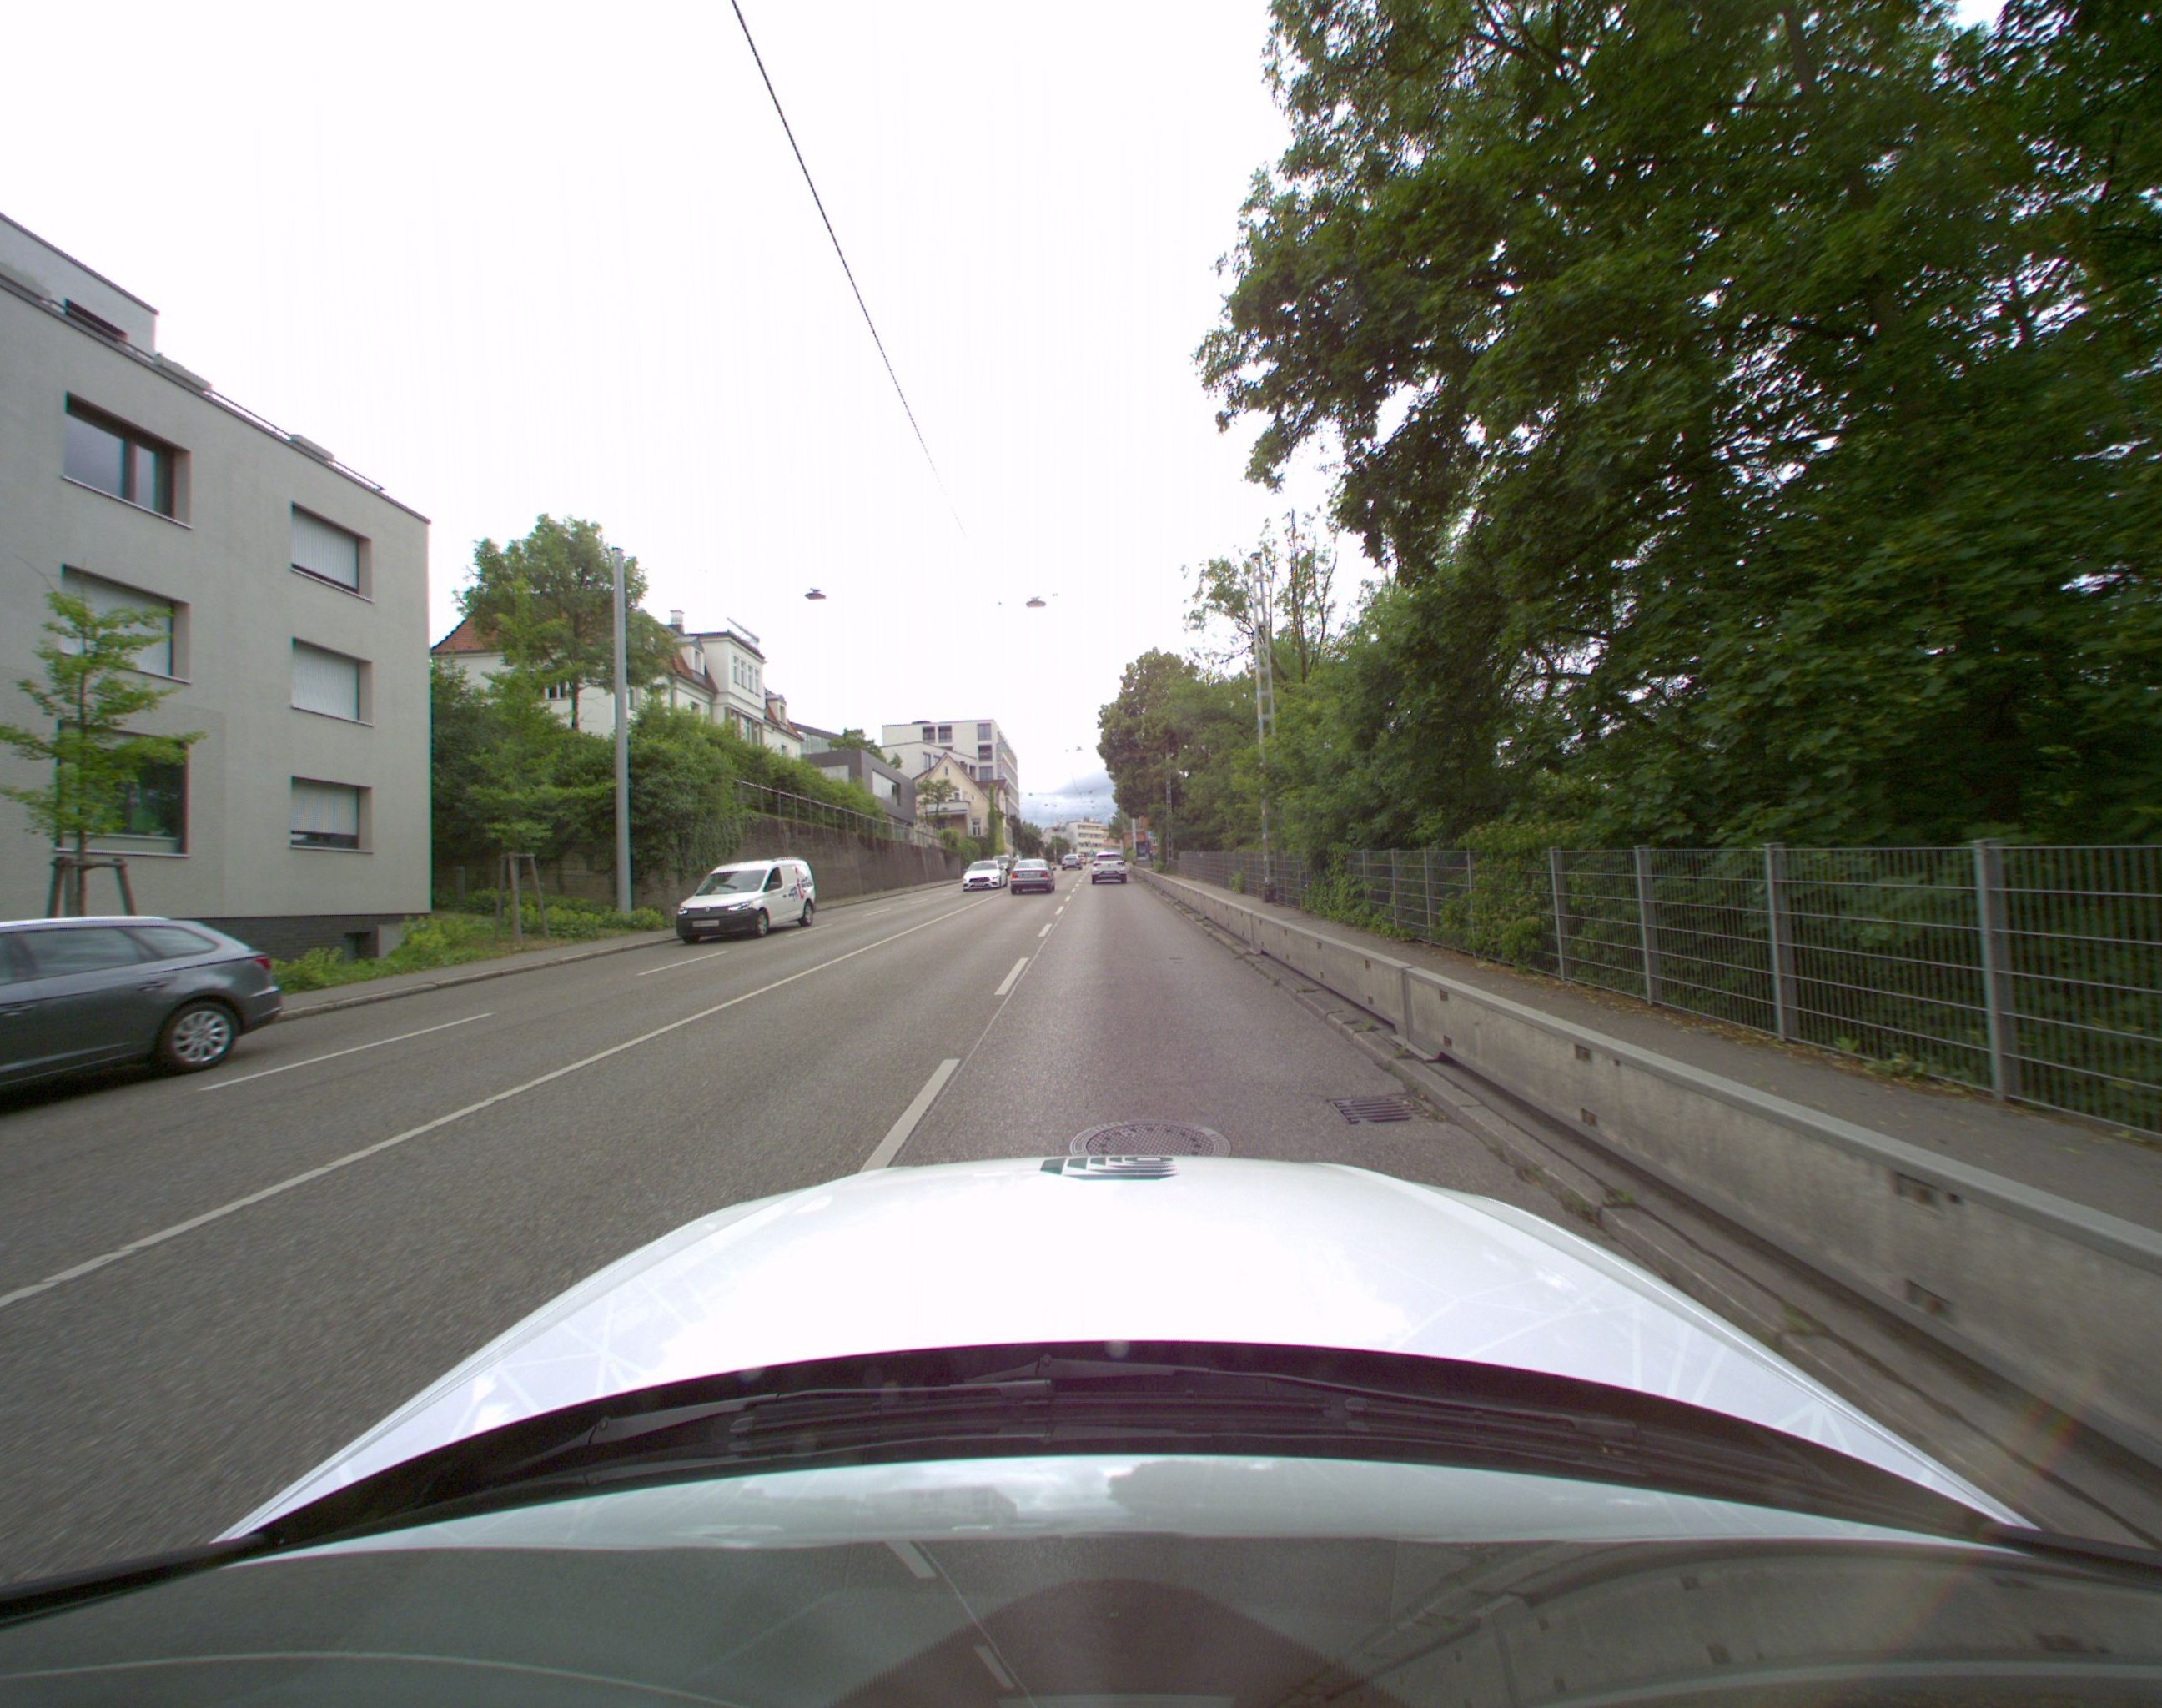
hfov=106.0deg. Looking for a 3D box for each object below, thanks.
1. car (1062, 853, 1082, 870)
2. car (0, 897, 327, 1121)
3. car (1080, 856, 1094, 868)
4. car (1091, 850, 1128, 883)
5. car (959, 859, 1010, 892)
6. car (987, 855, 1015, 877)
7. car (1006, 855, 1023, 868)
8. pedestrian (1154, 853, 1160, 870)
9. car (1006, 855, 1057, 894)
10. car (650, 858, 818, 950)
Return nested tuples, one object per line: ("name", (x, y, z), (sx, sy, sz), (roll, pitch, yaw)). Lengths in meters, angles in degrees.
("car", (-0.801, 0.721, 76.218), (1.700, 1.464, 4.001), (-3, 0, 1))
("car", (-8.598, 1.233, 6.040), (1.726, 1.464, 4.425), (-4, 0, 1))
("car", (0.847, 1.011, 107.167), (1.700, 1.464, 4.001), (-3, 0, 1))
("car", (1.409, 0.600, 41.957), (1.774, 1.579, 4.000), (-2, 0, 0))
("car", (-4.706, 1.025, 40.422), (1.809, 1.386, 4.464), (-5, 0, 1))
("car", (-6.973, 1.038, 71.798), (1.810, 1.784, 4.496), (-4, 0, 1))
("car", (-9.185, 1.038, 112.785), (1.989, 1.701, 3.996), (-3, 0, -3))
("pedestrian", (7.832, 0.800, 84.406), (0.508, 1.717, 0.465), (-3, 0, -1))
("car", (-1.981, 0.802, 33.735), (1.700, 1.464, 4.001), (-3, 0, 1))
("car", (-8.071, 1.052, 19.539), (1.726, 1.788, 4.868), (-4, 0, 1))
